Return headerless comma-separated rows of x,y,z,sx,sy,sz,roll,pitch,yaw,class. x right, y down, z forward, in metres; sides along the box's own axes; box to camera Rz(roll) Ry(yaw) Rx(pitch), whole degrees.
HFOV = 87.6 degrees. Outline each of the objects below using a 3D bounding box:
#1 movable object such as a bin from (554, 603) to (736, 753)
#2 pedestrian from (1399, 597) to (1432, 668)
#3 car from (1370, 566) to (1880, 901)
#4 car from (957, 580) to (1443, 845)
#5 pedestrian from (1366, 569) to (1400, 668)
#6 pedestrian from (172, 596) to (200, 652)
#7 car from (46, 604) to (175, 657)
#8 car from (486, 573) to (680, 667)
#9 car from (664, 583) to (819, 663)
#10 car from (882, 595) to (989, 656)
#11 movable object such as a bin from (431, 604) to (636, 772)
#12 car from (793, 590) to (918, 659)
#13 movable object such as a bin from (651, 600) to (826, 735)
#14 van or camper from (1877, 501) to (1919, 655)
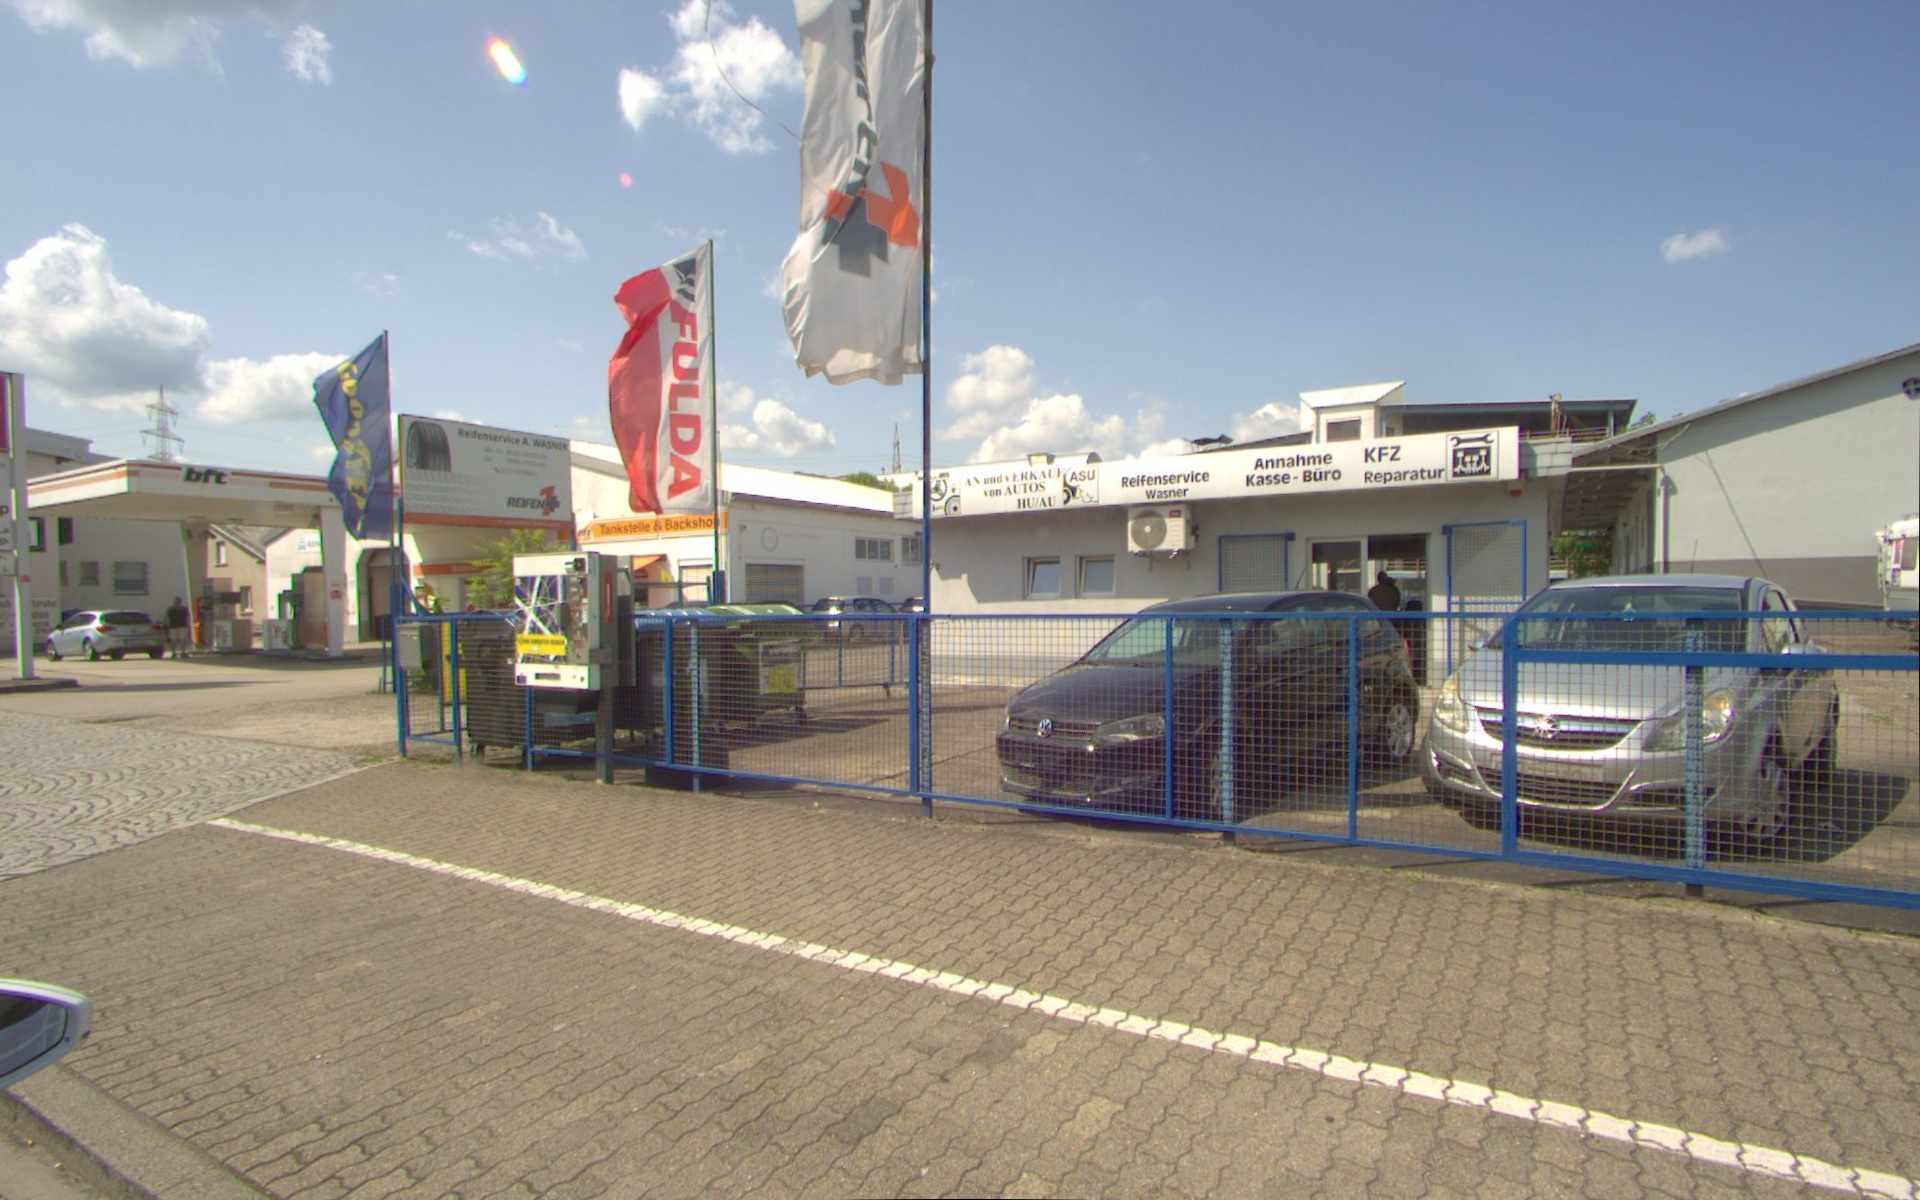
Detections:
-3.375,0.775,10.788,1.434,1.473,1.224,0,1,31,movable object such as a bin
7.976,0.562,17.528,0.480,1.229,0.499,0,1,30,pedestrian
4.498,0.587,6.514,4.104,1.499,1.787,-1,0,-42,car
2.011,0.626,7.651,3.962,1.499,1.705,-1,1,-43,car
7.438,0.326,17.609,0.480,1.710,0.499,0,1,30,pedestrian
-23.742,0.731,30.720,0.628,1.705,0.618,-1,1,-36,pedestrian
-25.836,0.891,30.439,3.950,1.499,1.829,-1,1,31,car
-8.916,0.436,23.986,1.971,2.040,3.979,0,0,32,car
-5.950,0.572,27.639,1.971,2.040,3.979,0,0,32,car
-0.807,0.864,35.880,1.971,2.040,3.979,0,0,32,car
-4.136,0.784,9.748,1.434,1.473,1.224,0,1,31,movable object such as a bin
-3.267,0.729,31.991,1.971,2.040,3.979,0,0,32,car
-2.609,0.743,11.903,1.433,1.473,1.427,0,1,31,movable object such as a bin
21.344,-0.459,19.323,4.983,3.002,2.276,0,1,31,van or camper
